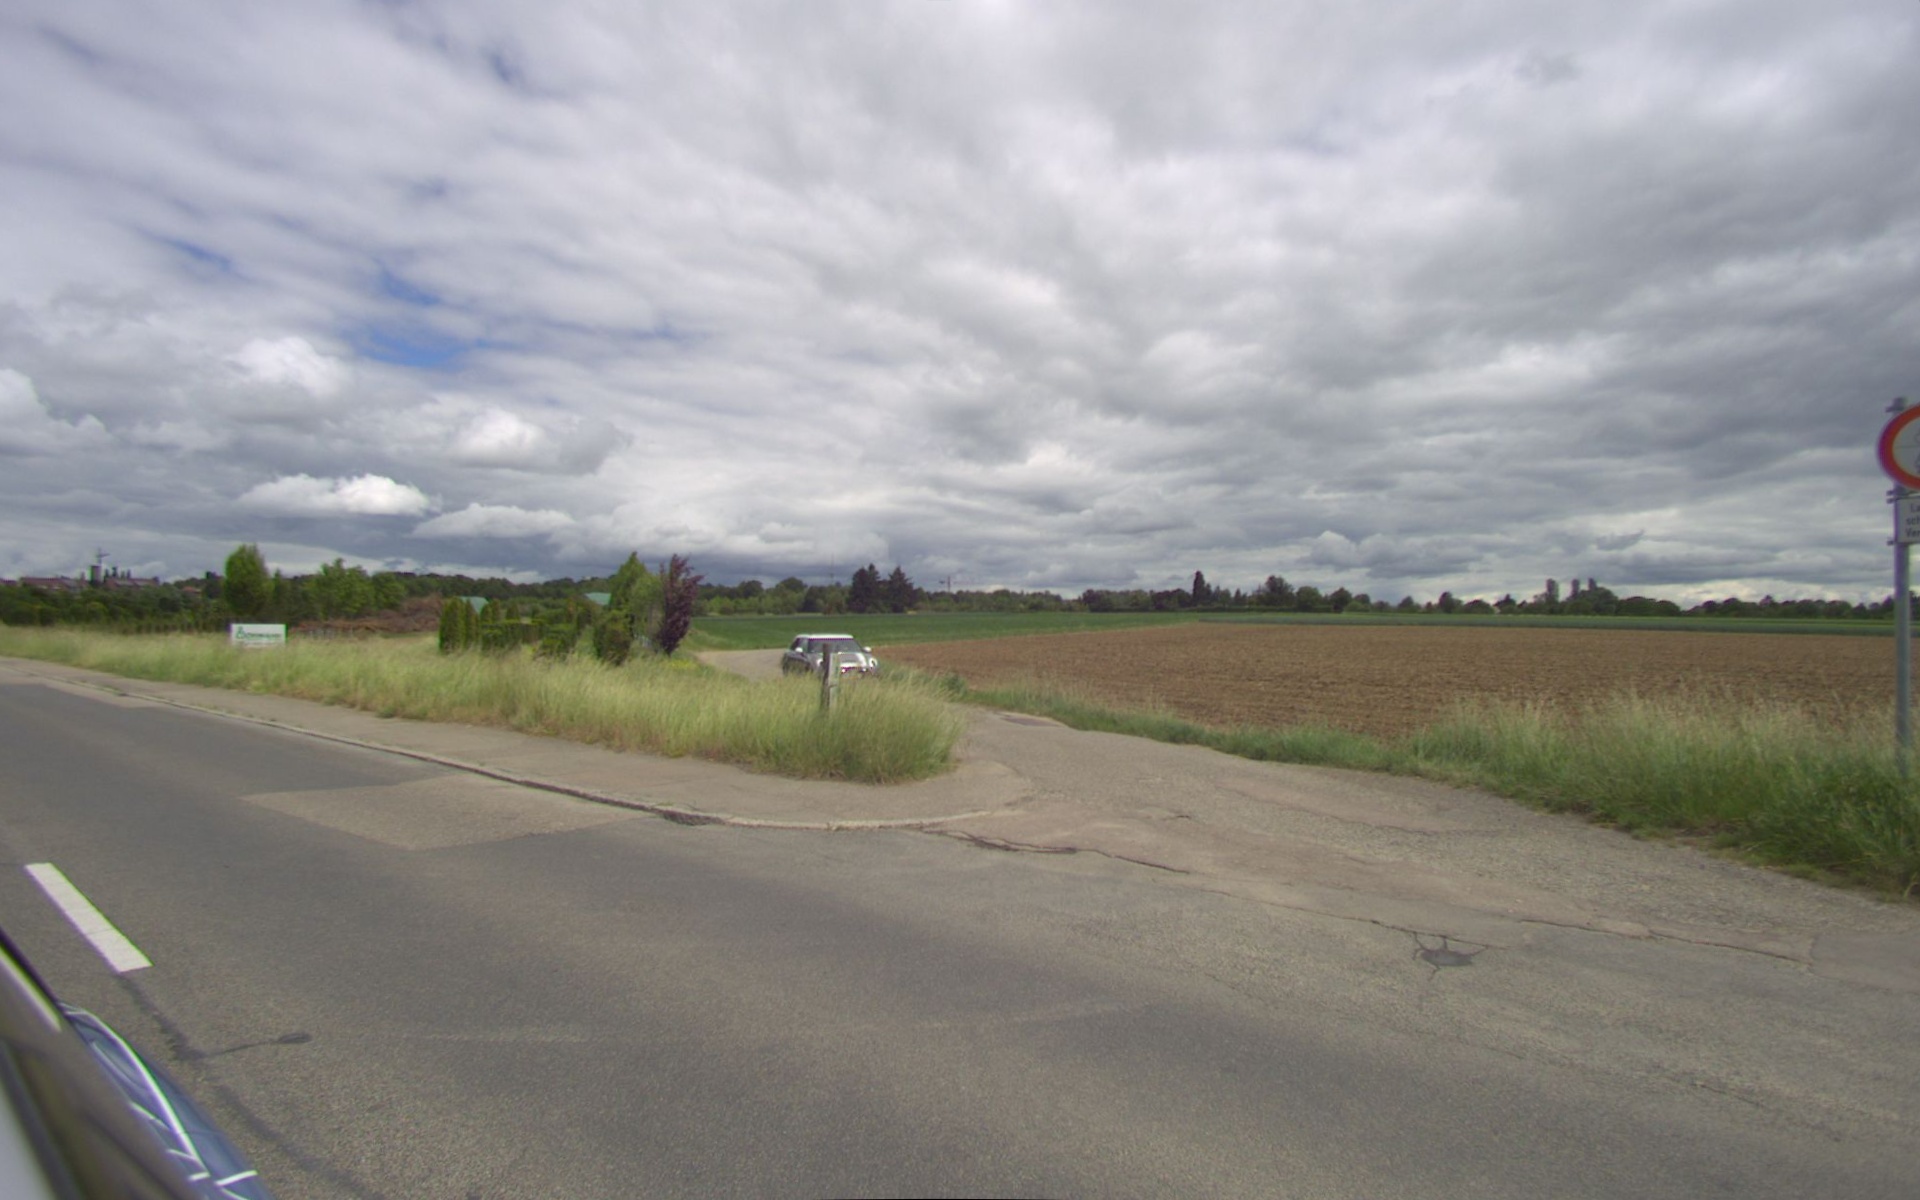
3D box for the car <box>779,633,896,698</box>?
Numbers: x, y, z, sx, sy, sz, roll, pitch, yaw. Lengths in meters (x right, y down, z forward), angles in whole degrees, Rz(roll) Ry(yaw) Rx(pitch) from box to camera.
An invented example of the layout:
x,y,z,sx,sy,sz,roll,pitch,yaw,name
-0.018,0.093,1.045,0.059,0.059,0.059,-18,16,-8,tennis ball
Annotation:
x,y,z,sx,sy,sz,roll,pitch,yaw,name
-3.221,1.629,25.850,1.941,1.464,4.013,3,-2,-22,car
